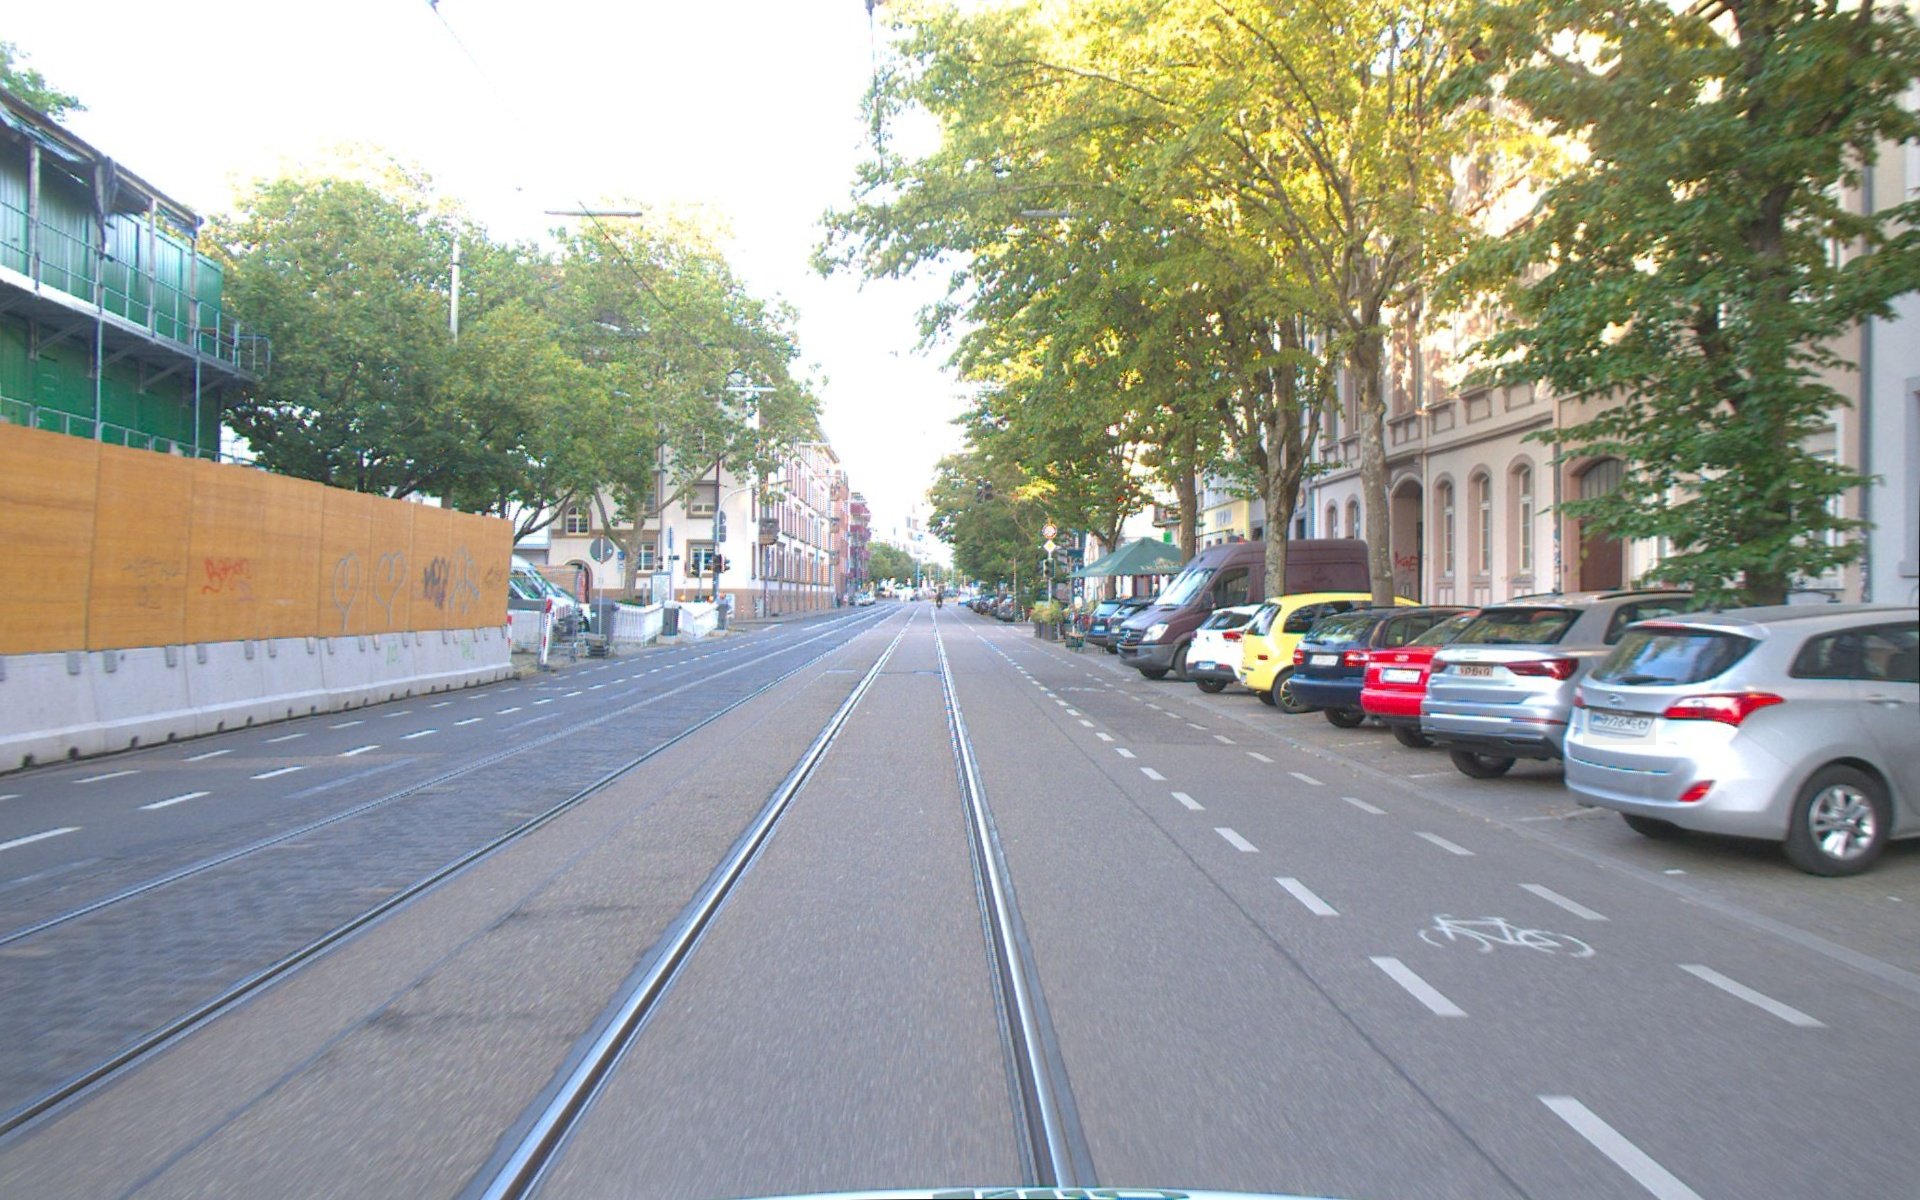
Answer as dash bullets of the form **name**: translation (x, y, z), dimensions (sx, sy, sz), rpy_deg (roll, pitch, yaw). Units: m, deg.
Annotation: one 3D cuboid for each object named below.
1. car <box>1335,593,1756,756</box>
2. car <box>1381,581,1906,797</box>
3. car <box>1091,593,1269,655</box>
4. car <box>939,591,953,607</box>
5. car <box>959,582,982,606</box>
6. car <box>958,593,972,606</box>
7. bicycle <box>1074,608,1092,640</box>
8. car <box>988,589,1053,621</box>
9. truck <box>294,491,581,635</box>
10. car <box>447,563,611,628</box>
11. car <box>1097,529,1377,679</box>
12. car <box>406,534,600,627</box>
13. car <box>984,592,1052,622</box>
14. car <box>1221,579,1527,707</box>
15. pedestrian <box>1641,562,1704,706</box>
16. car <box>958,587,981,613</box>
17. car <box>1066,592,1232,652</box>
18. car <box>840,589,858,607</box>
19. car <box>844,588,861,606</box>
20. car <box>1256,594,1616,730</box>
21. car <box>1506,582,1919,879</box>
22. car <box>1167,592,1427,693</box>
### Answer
- **car**: translation (6.170, 0.715, 17.396), dimensions (4.072, 1.450, 1.881), rpy_deg (-2, 0, -27)
- **car**: translation (5.988, 0.689, 14.482), dimensions (4.195, 1.588, 1.883), rpy_deg (-2, 0, -24)
- **car**: translation (5.652, 0.604, 42.674), dimensions (4.109, 1.488, 1.999), rpy_deg (-1, 0, -17)
- **car**: translation (-1.857, -0.122, 219.479), dimensions (1.859, 2.049, 3.999), rpy_deg (1, 0, -1)
- **car**: translation (0.882, -0.520, 141.318), dimensions (1.768, 2.049, 3.999), rpy_deg (1, 0, -1)
- **car**: translation (0.717, -0.086, 230.957), dimensions (1.923, 1.748, 3.999), rpy_deg (1, 0, -1)
- **bicycle**: translation (4.157, 0.813, 56.014), dimensions (0.410, 1.033, 1.829), rpy_deg (1, 0, -1)
- **car**: translation (3.614, 0.328, 99.571), dimensions (3.808, 1.880, 1.861), rpy_deg (0, 0, 0)
- **truck**: translation (-14.109, -0.991, 45.088), dimensions (6.919, 3.541, 2.539), rpy_deg (2, 0, -5)
- **car**: translation (-14.743, -0.167, 56.811), dimensions (4.921, 1.979, 2.228), rpy_deg (2, 1, 3)
- **car**: translation (5.419, 0.045, 32.424), dimensions (5.016, 2.689, 2.011), rpy_deg (-2, 0, -18)
- **car**: translation (-14.007, -0.604, 50.951), dimensions (5.293, 2.603, 2.225), rpy_deg (2, 1, -4)
- **car**: translation (3.293, 0.399, 94.719), dimensions (3.808, 1.620, 1.861), rpy_deg (1, 0, 0)
- **car**: translation (5.868, 0.598, 23.782), dimensions (3.870, 1.648, 1.920), rpy_deg (-2, 0, -1)
- **pedestrian**: translation (9.267, 0.436, 21.520), dimensions (0.554, 1.846, 0.607), rpy_deg (0, 0, -1)
- **car**: translation (0.748, 0.021, 133.446), dimensions (1.687, 2.049, 3.999), rpy_deg (1, 0, -1)
- **car**: translation (5.209, 0.595, 45.488), dimensions (4.123, 1.525, 1.992), rpy_deg (-1, 0, -26)
- **car**: translation (-13.406, -0.266, 199.731), dimensions (1.859, 2.049, 3.999), rpy_deg (1, 0, -1)
- **car**: translation (-13.235, -0.397, 204.380), dimensions (1.859, 2.216, 3.999), rpy_deg (1, 0, -1)
- **car**: translation (5.888, 0.713, 20.435), dimensions (4.072, 1.450, 1.904), rpy_deg (-2, 0, -27)
- **car**: translation (5.898, 0.689, 10.496), dimensions (4.176, 1.576, 2.014), rpy_deg (-1, 0, -12)
- **car**: translation (5.653, 0.683, 27.767), dimensions (3.901, 1.512, 1.905), rpy_deg (-2, -1, -25)
